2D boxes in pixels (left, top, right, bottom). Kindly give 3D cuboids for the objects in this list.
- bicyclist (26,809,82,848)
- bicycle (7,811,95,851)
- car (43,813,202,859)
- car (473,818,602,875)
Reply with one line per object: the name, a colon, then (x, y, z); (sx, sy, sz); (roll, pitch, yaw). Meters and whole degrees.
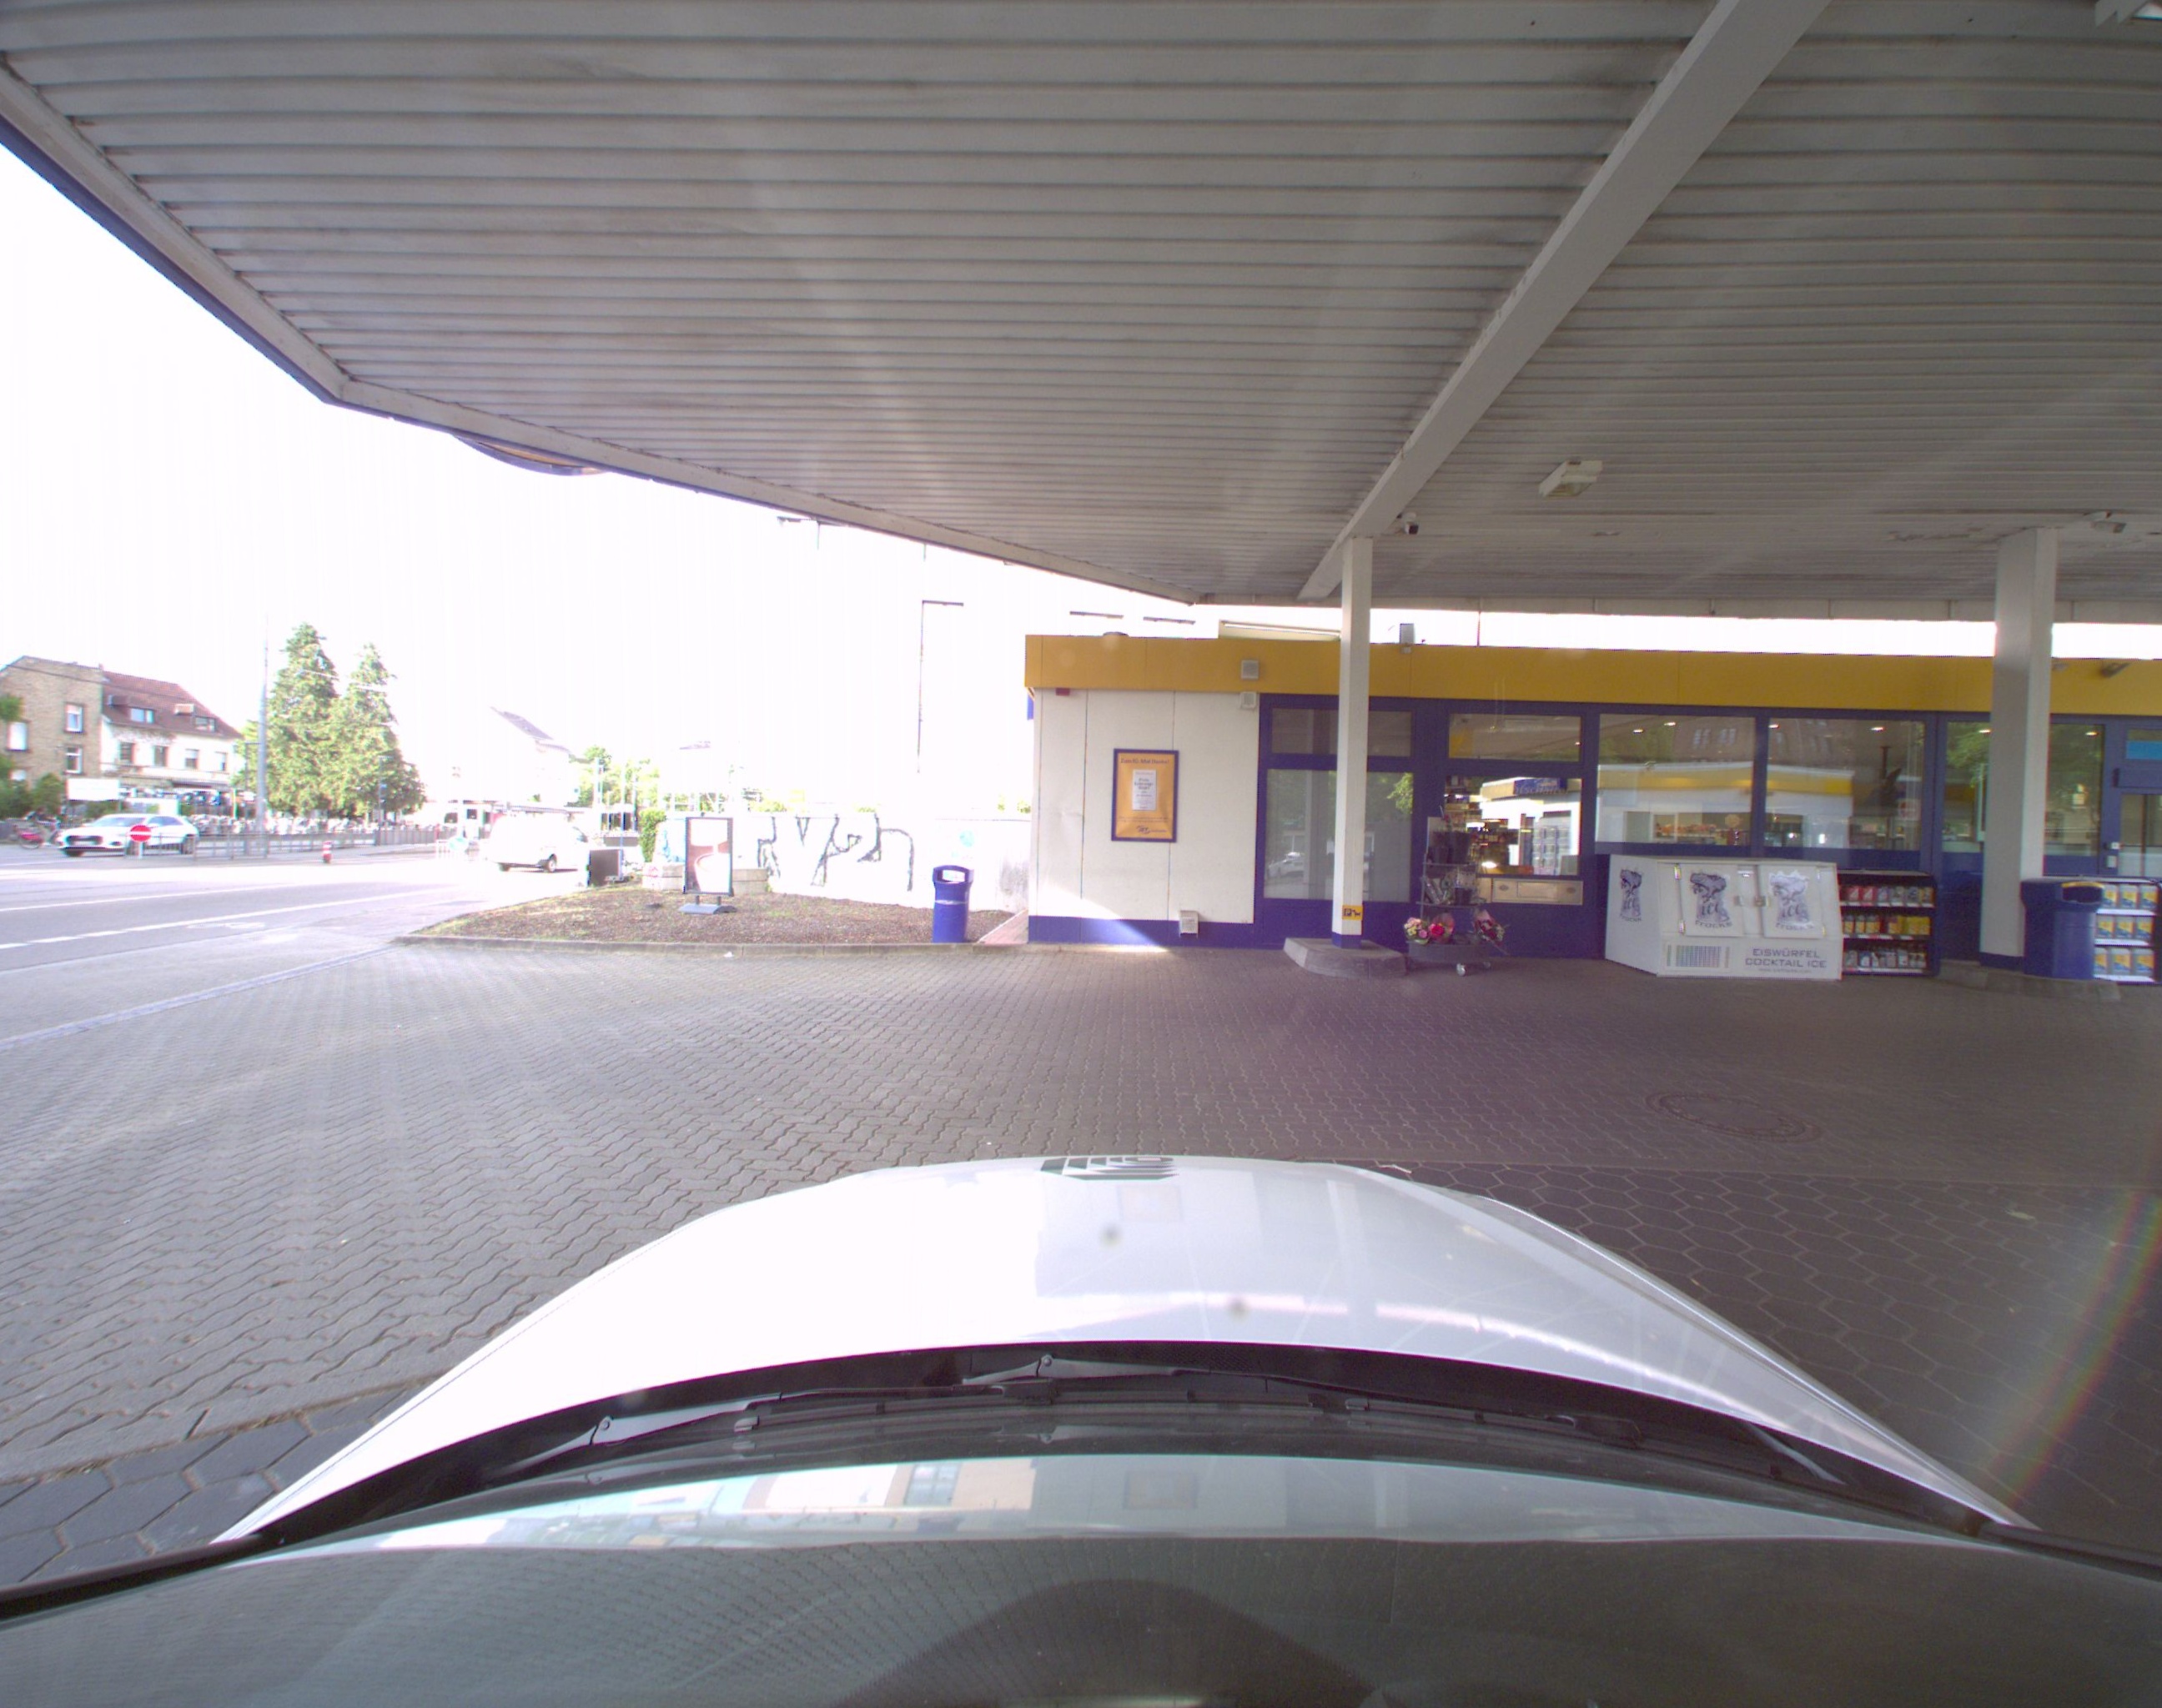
bicyclist: (-41.227, -1.026, 32.701); (0.781, 1.492, 1.099); (4, 0, 11)
bicycle: (-41.244, -0.893, 32.650); (0.781, 1.492, 1.998); (4, 0, 12)
car: (-35.836, -0.716, 30.654); (1.840, 1.576, 4.355); (0, 2, -19)
car: (-19.643, -0.272, 29.715); (1.959, 1.889, 4.404); (1, 0, -5)
